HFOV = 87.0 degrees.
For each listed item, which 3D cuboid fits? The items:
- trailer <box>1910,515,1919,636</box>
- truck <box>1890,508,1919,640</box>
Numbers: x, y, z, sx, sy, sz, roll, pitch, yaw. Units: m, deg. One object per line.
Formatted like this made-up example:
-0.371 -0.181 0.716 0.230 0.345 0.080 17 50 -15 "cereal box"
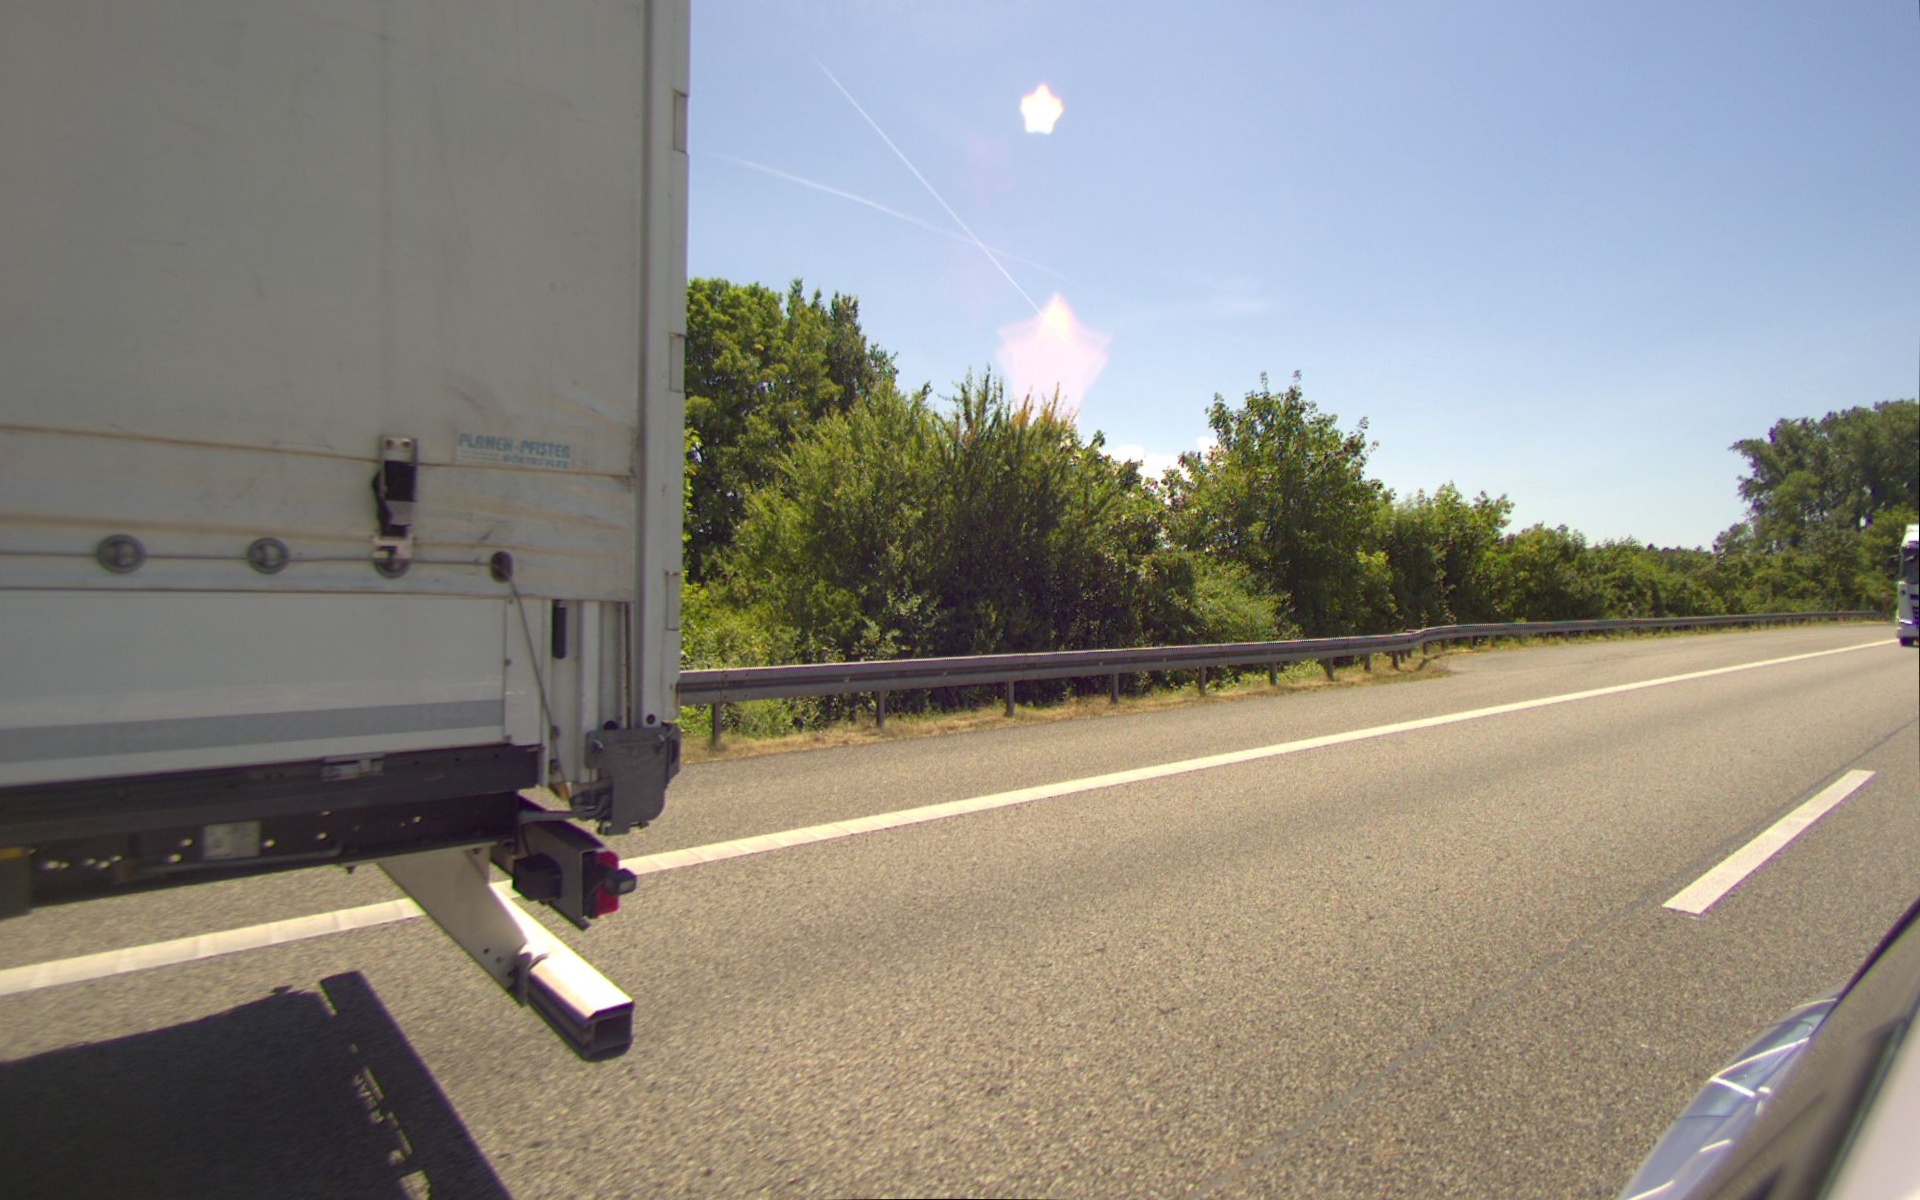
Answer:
38.529 -0.829 37.713 12.307 4.158 2.966 0 0 -39 "trailer"
33.120 -0.813 33.244 6.095 4.158 2.966 0 0 -39 "truck"
